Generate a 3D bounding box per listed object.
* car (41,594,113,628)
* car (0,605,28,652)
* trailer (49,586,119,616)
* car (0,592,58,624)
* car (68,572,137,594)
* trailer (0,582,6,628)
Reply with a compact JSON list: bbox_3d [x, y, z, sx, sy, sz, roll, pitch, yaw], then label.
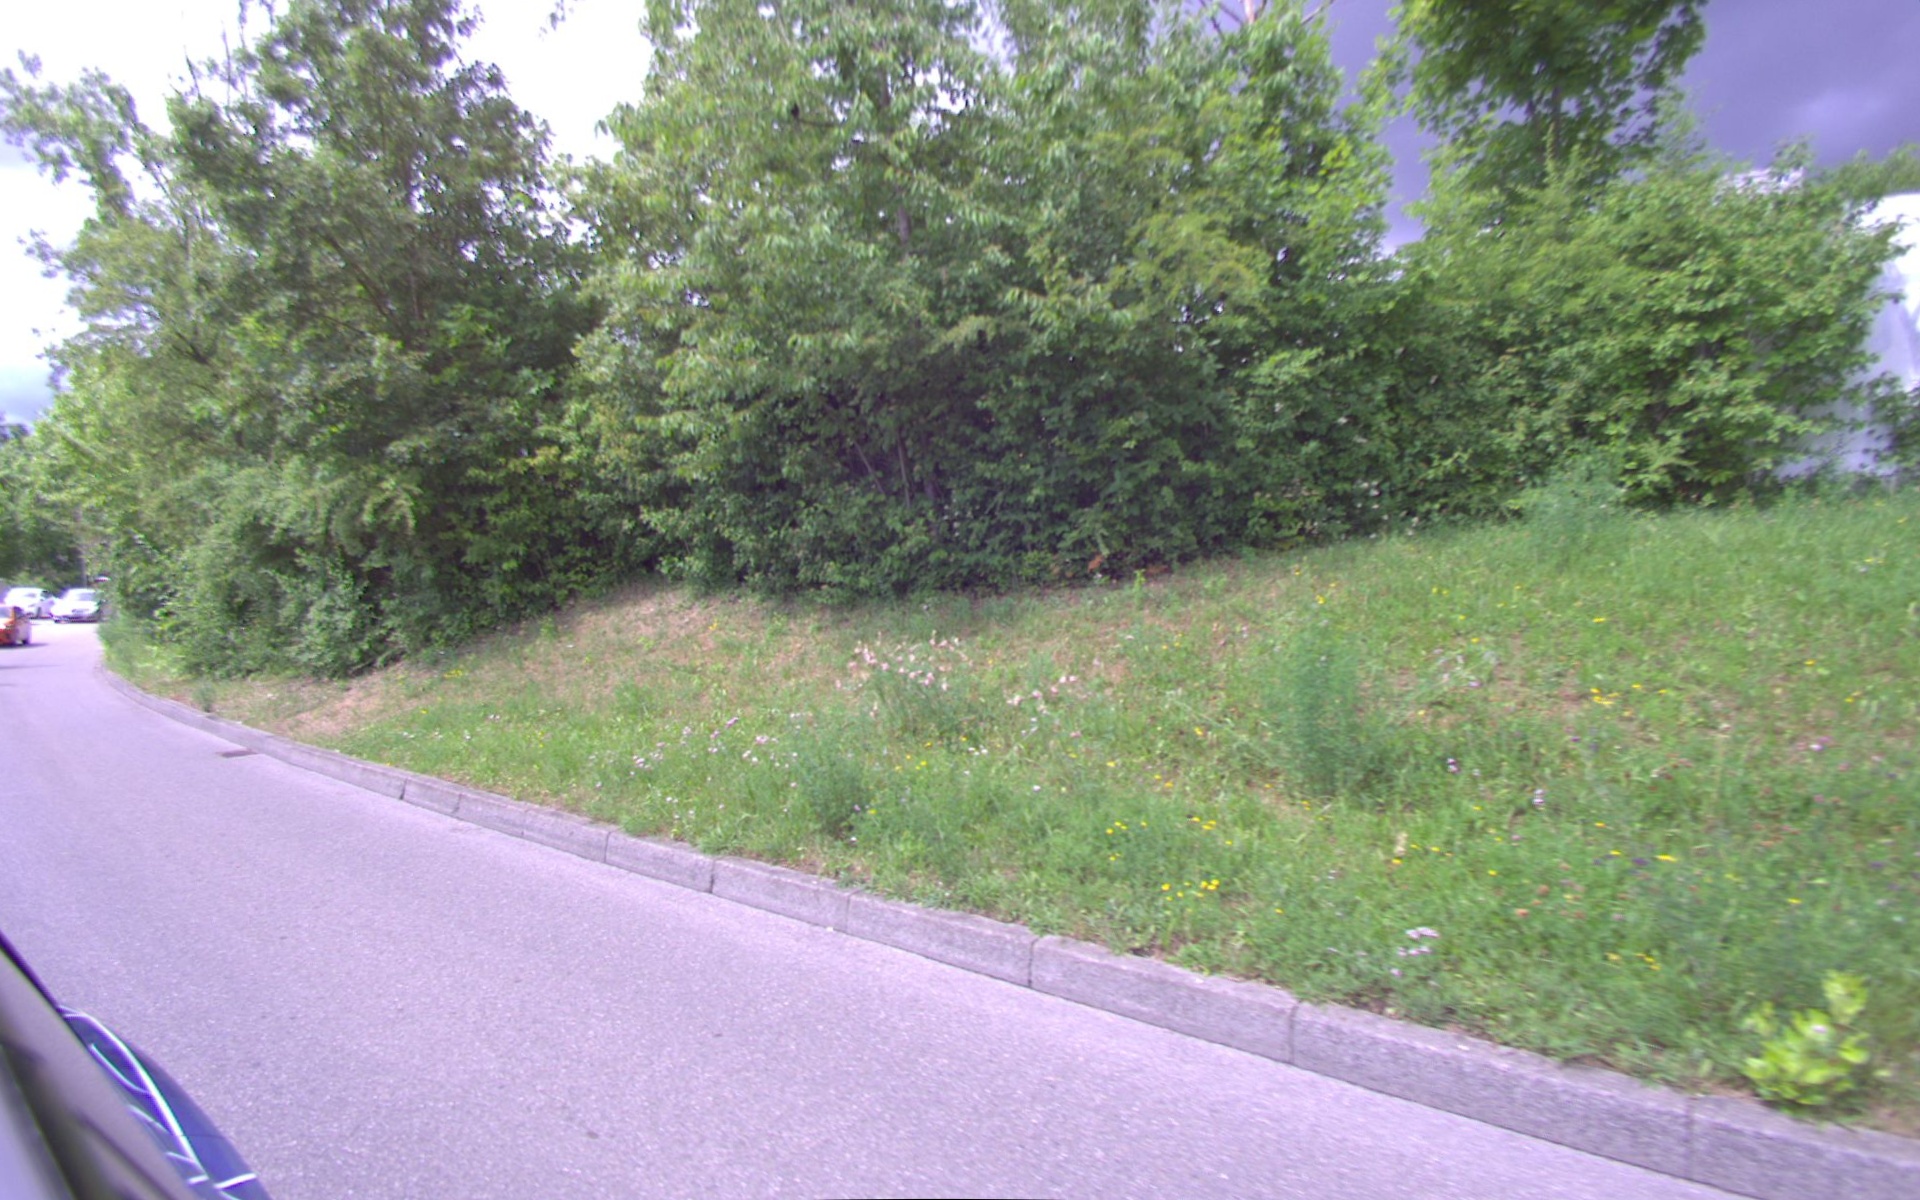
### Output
[{"bbox_3d":[-43.333,0.487,49.760,1.766,1.520,4.126,-1,1,-29],"label":"car"},{"bbox_3d":[-32.630,0.906,33.809,1.768,1.423,4.122,2,0,-37],"label":"car"},{"bbox_3d":[-51.182,0.048,59.232,1.784,1.590,4.505,0,2,-23],"label":"trailer"},{"bbox_3d":[-47.002,0.374,50.770,1.682,1.488,3.796,1,1,-27],"label":"car"},{"bbox_3d":[-61.578,-1.212,72.708,3.436,1.528,1.654,0,3,-3],"label":"car"},{"bbox_3d":[-44.260,0.277,45.169,1.706,2.094,3.795,0,2,-32],"label":"trailer"}]
